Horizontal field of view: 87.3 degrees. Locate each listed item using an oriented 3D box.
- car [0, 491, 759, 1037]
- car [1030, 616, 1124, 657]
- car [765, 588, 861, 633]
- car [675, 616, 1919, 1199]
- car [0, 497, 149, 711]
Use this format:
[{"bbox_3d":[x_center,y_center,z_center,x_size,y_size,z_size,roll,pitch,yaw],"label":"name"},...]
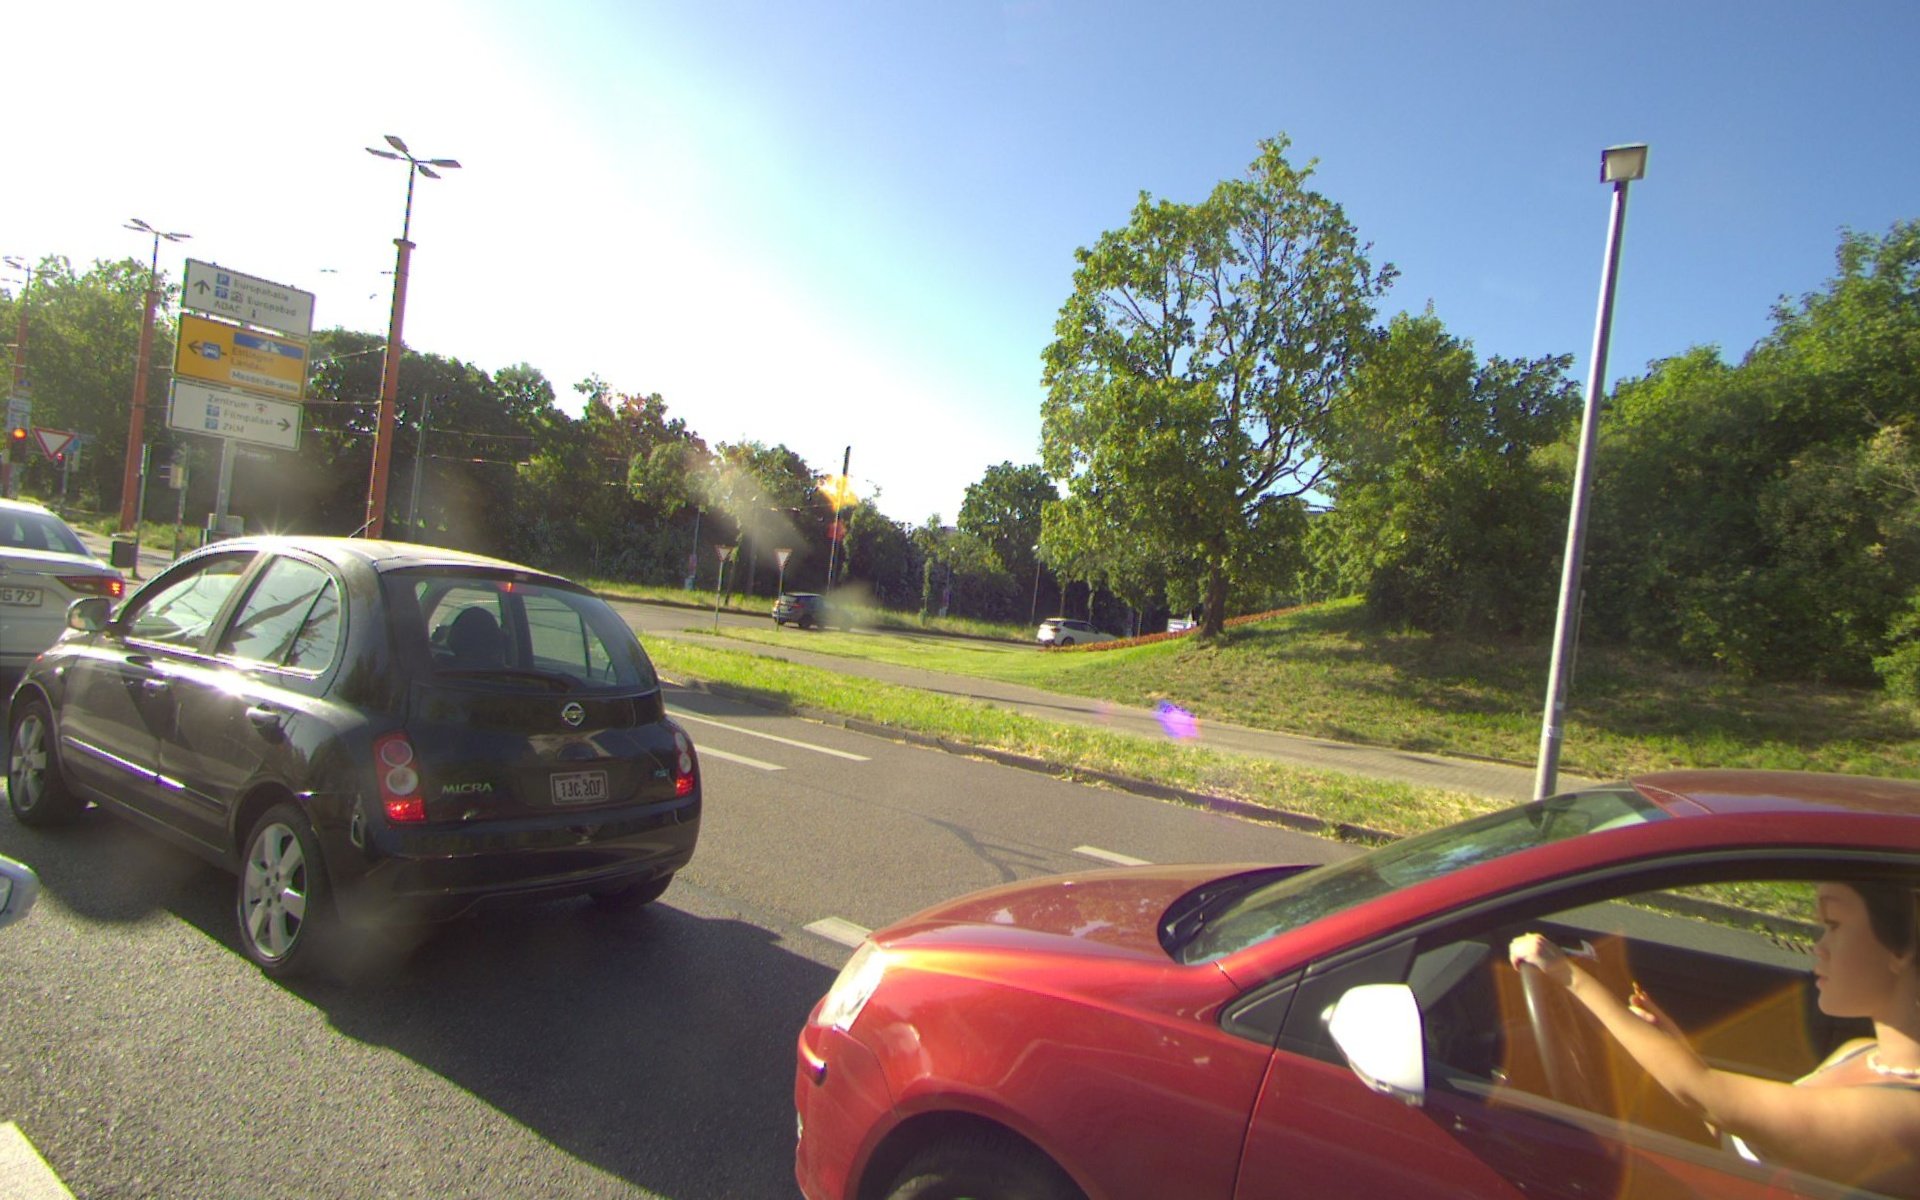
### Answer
[{"bbox_3d":[-2.819,0.463,4.624,3.457,1.524,1.558,7,0,32],"label":"car"},{"bbox_3d":[6.304,1.978,54.052,4.745,1.617,1.899,8,-1,-31],"label":"car"},{"bbox_3d":[-6.211,0.473,42.867,1.724,1.486,3.881,7,-1,36],"label":"car"},{"bbox_3d":[1.373,0.988,1.893,3.634,1.434,1.624,7,-1,34],"label":"car"},{"bbox_3d":[-8.344,-0.165,7.977,4.077,1.472,1.717,7,-1,33],"label":"car"}]
